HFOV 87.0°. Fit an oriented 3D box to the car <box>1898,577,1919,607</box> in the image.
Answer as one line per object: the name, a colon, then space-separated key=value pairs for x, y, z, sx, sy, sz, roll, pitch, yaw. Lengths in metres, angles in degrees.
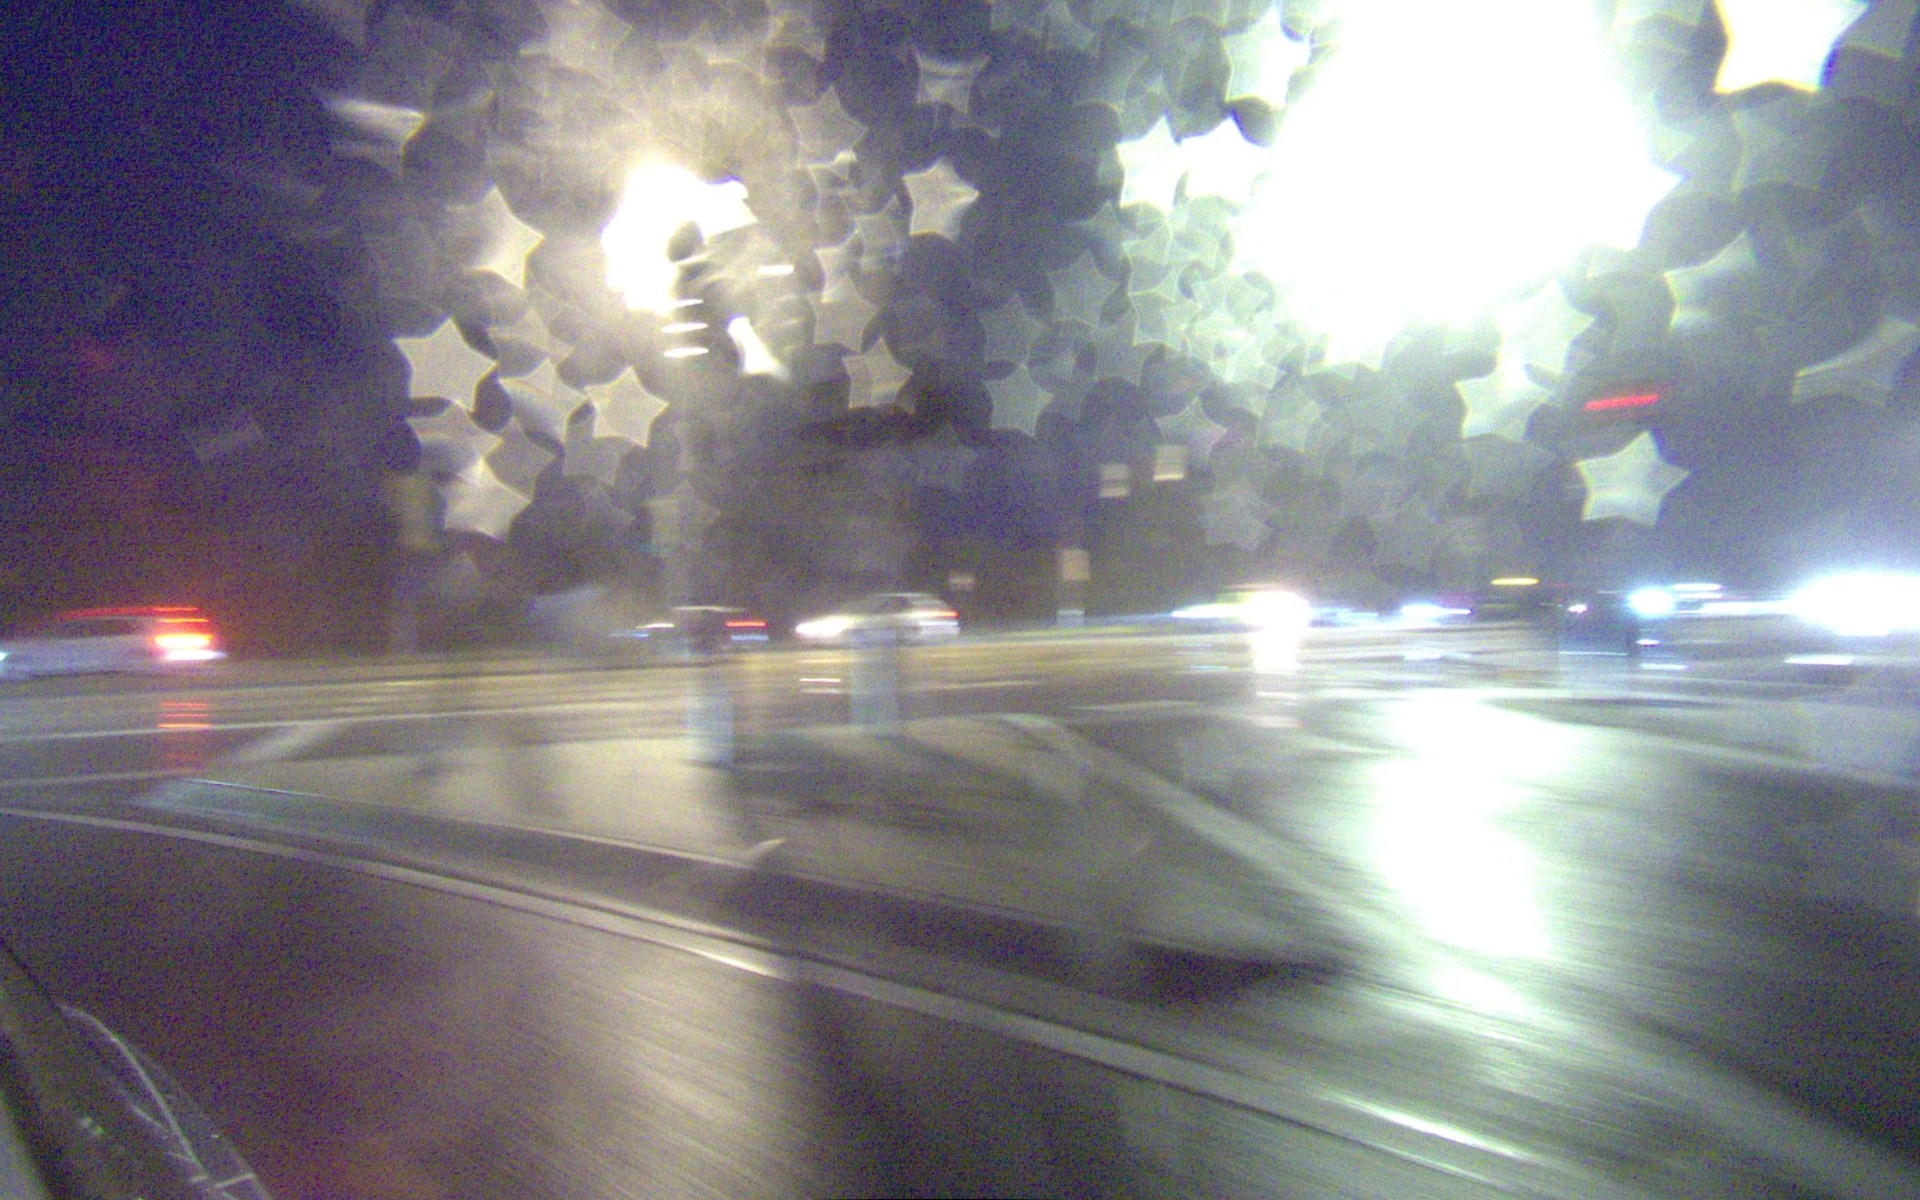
car: x=55.140 y=-0.480 z=57.310 sx=3.726 sy=1.687 sz=1.617 roll=-2 pitch=0 yaw=-25

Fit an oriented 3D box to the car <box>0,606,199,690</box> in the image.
car: x=-21.899 y=1.156 z=25.415 sx=4.133 sy=1.907 sz=1.774 roll=-1 pitch=0 yaw=-22

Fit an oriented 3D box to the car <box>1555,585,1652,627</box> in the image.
car: x=30.001 y=0.280 z=47.198 sx=3.945 sy=1.854 sz=1.761 roll=-1 pitch=0 yaw=-21

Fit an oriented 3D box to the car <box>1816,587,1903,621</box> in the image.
car: x=43.672 y=0.190 z=49.119 sx=3.726 sy=1.554 sz=1.762 roll=-2 pitch=0 yaw=-24

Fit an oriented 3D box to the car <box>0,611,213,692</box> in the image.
car: x=-19.680 y=1.180 z=22.870 sx=4.170 sy=1.620 sz=1.793 roll=-2 pitch=-3 yaw=-22

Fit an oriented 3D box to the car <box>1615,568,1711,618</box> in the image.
car: x=30.414 y=-0.319 z=43.766 sx=3.726 sy=2.029 sz=1.600 roll=-2 pitch=0 yaw=-22

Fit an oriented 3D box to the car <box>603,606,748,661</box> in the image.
car: x=-8.644 y=0.983 z=30.762 sx=4.025 sy=1.467 sz=1.860 roll=-1 pitch=0 yaw=-22

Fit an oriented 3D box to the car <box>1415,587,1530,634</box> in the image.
car: x=17.209 y=0.352 z=33.998 sx=3.292 sy=1.438 sz=1.600 roll=-2 pitch=0 yaw=-21

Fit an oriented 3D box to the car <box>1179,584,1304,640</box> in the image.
car: x=10.856 y=0.438 z=39.066 sx=4.277 sy=2.032 sz=1.901 roll=-1 pitch=0 yaw=-20

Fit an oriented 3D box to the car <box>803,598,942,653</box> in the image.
car: x=-2.605 y=0.724 z=30.016 sx=3.753 sy=1.459 sz=1.675 roll=-1 pitch=1 yaw=-22

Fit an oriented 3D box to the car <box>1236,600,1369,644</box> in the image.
car: x=12.064 y=0.758 z=35.647 sx=4.377 sy=1.369 sz=1.657 roll=-2 pitch=0 yaw=-21
